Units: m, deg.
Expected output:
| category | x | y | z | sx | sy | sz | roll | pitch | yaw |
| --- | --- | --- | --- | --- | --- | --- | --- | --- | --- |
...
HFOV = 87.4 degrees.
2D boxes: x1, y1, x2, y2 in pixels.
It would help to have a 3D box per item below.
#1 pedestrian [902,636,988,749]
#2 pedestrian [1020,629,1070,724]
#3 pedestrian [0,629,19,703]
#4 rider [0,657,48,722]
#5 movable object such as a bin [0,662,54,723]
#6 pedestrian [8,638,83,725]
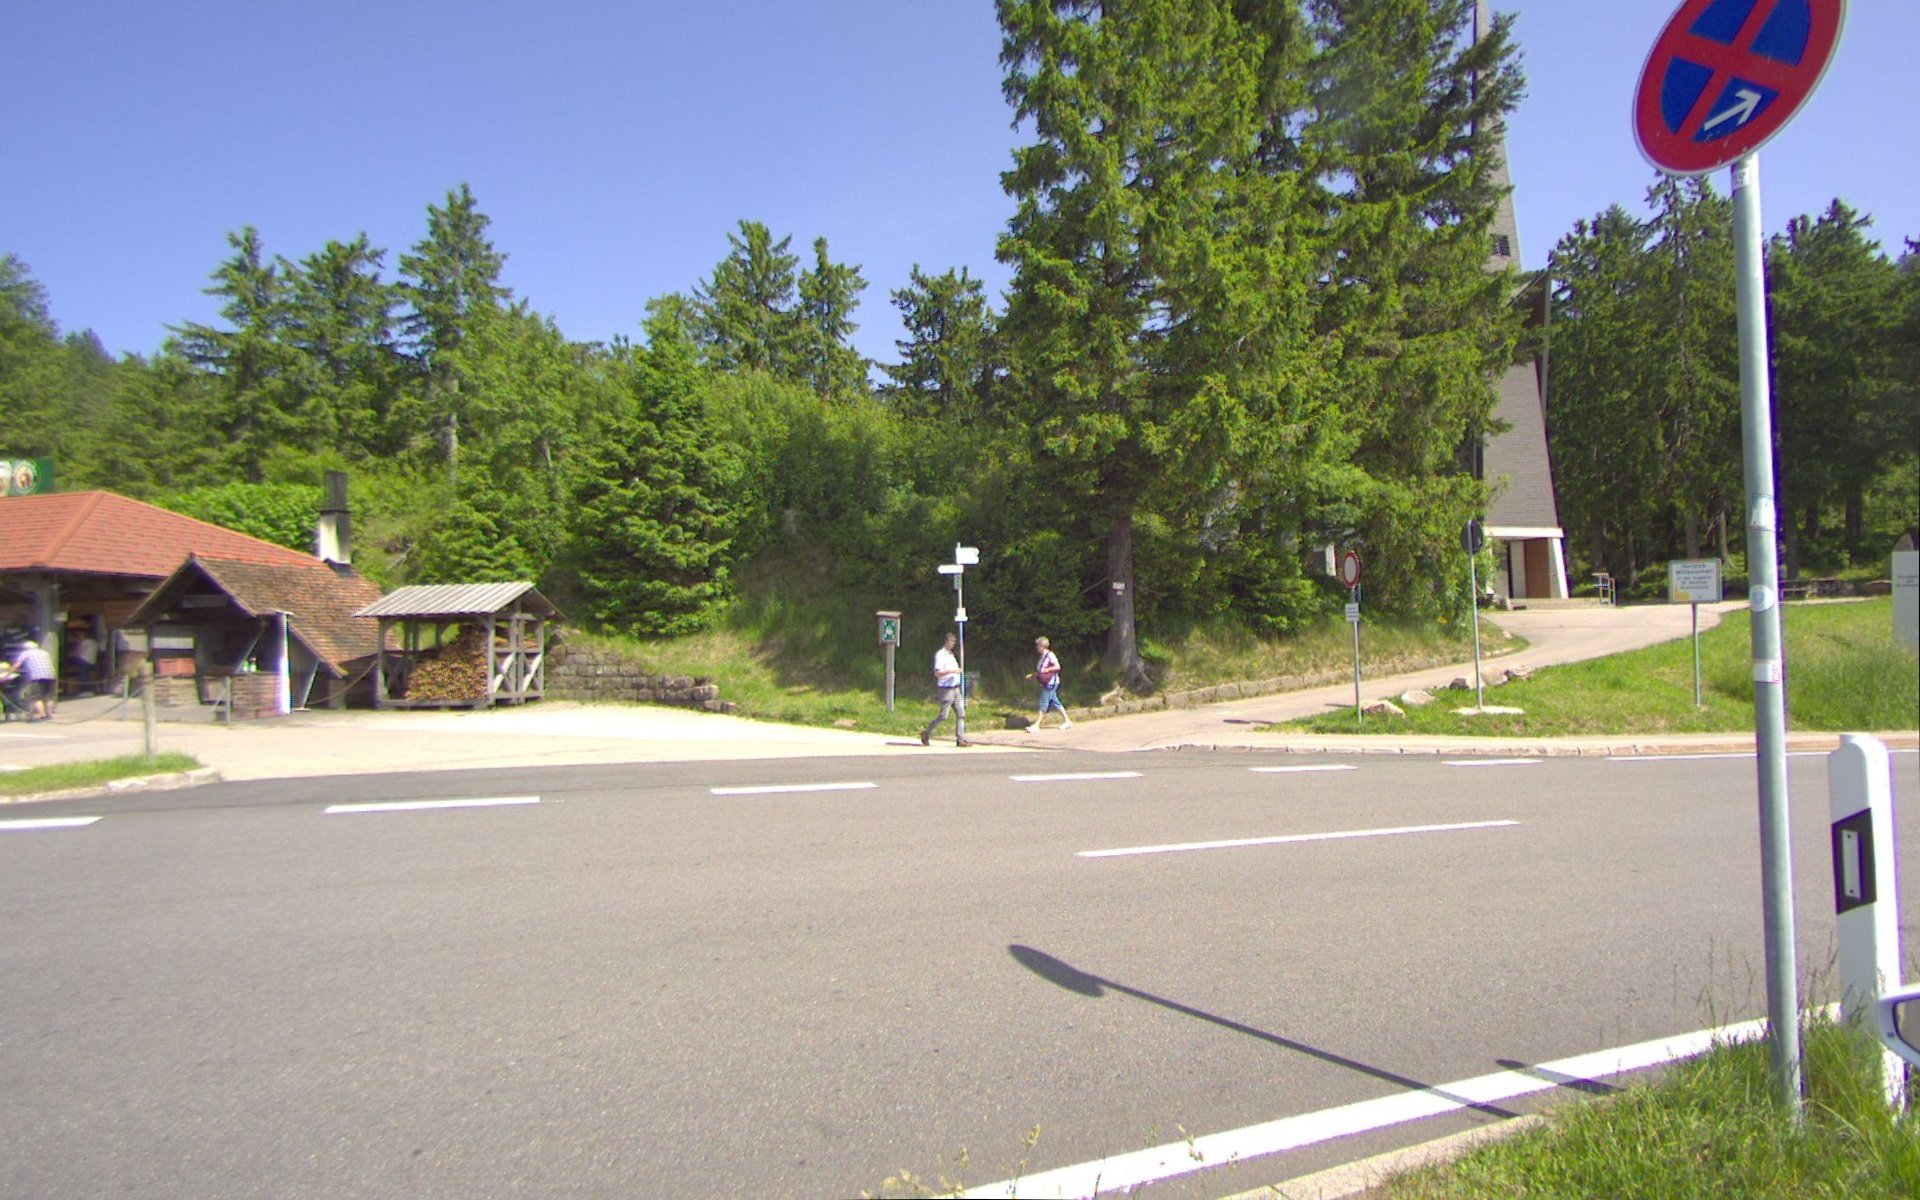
| category | x | y | z | sx | sy | sz | roll | pitch | yaw |
| --- | --- | --- | --- | --- | --- | --- | --- | --- | --- |
| pedestrian | -0.227 | 1.442 | 15.960 | 1.139 | 1.720 | 0.980 | -1 | -3 | 15 |
| pedestrian | 1.548 | 1.388 | 18.393 | 0.672 | 1.703 | 0.718 | 1 | -3 | -21 |
| pedestrian | -23.353 | 1.577 | 24.163 | 0.788 | 1.759 | 0.749 | -1 | -3 | 26 |
| rider | -19.582 | 1.828 | 20.725 | 0.892 | 1.291 | 0.839 | -1 | -3 | 26 |
| movable object such as a bin | -19.663 | 1.887 | 20.772 | 1.194 | 1.204 | 0.983 | -1 | -3 | 26 |
| pedestrian | -18.664 | 1.644 | 20.506 | 0.788 | 1.721 | 0.839 | -1 | -3 | 26 |
